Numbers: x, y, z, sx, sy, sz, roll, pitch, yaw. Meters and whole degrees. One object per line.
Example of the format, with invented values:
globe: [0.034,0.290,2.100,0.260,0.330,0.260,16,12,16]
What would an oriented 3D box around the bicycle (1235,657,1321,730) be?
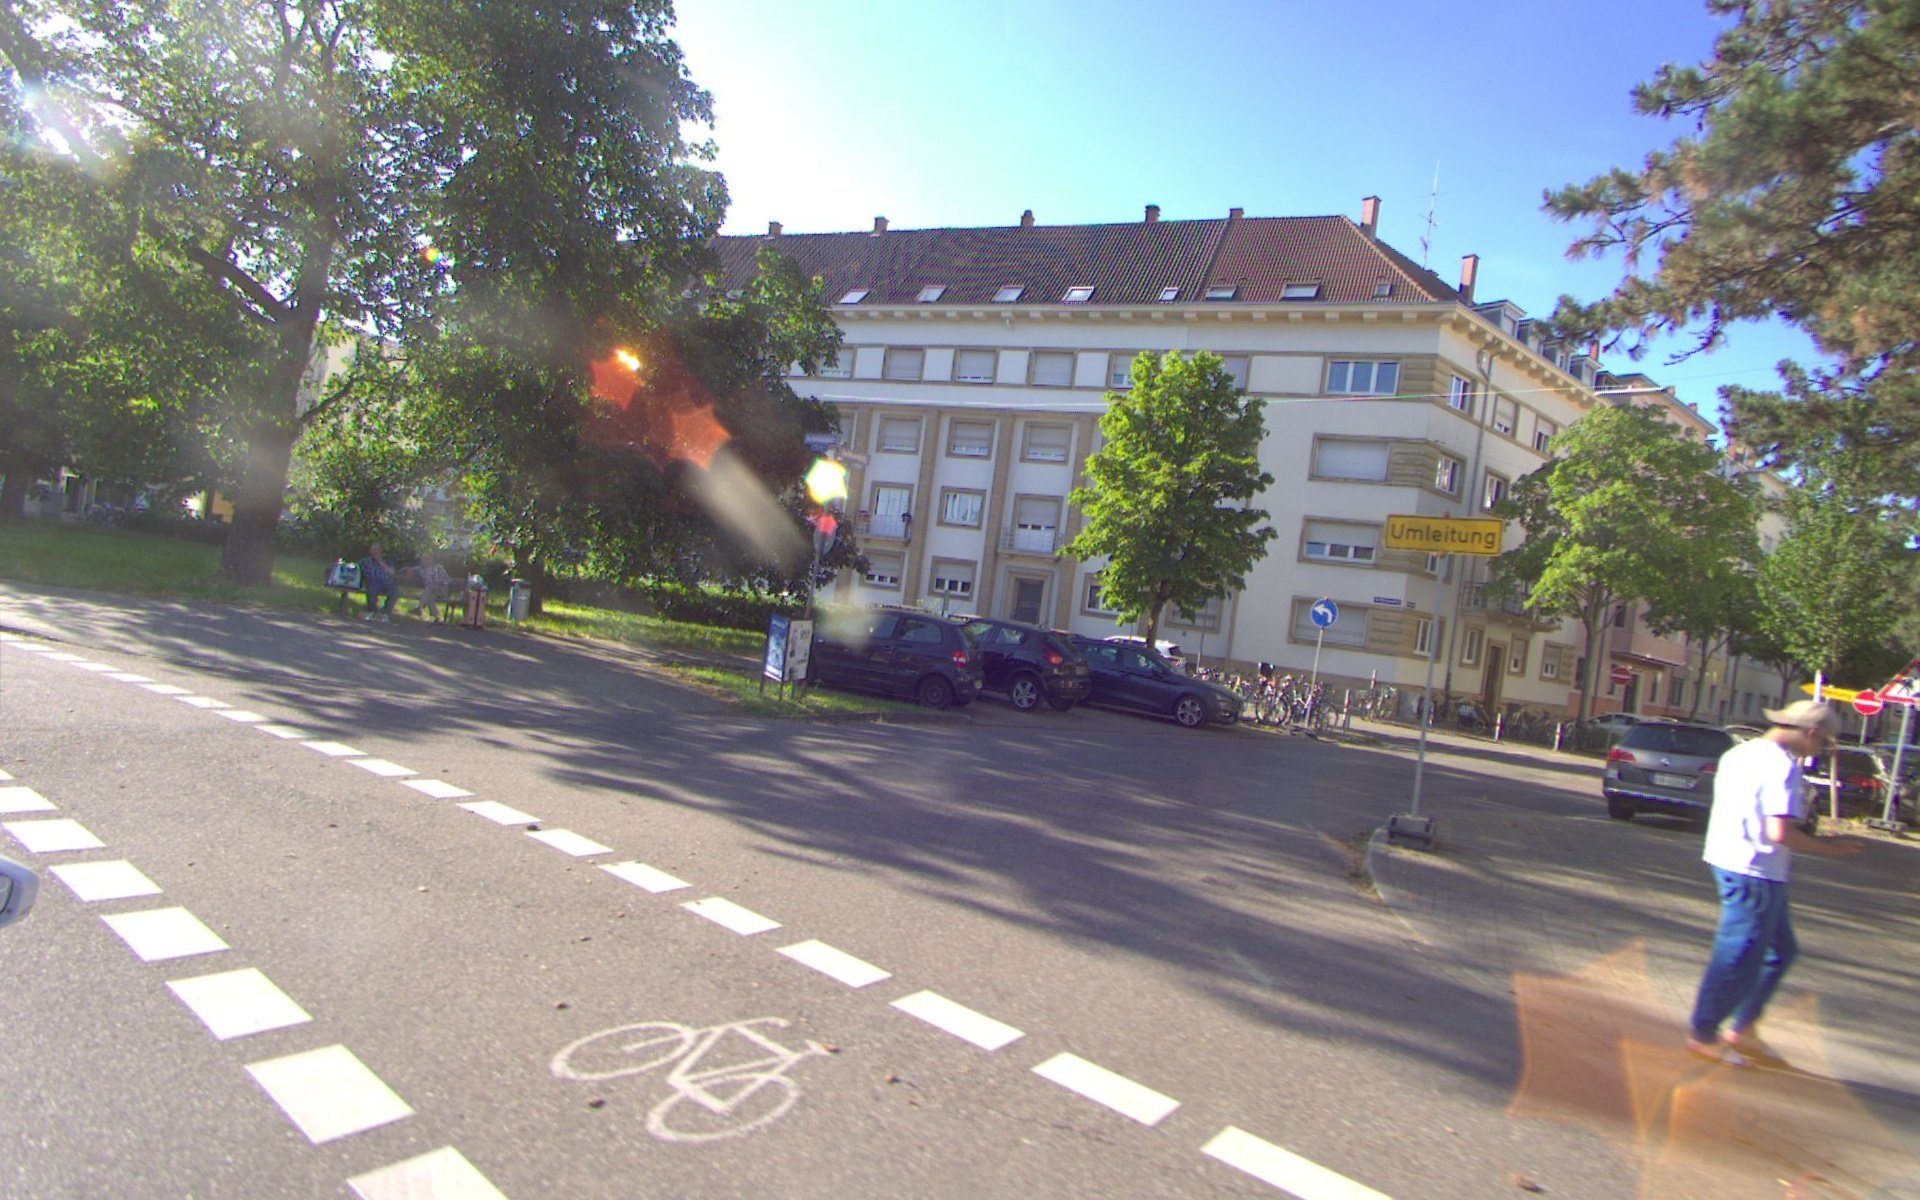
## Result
bicycle: [7.445,2.166,23.690,0.552,1.474,2.330,9,-3,-17]

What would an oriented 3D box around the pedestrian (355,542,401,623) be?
pedestrian: [-9.417,-0.292,16.261,0.401,1.240,0.753,10,-2,-36]

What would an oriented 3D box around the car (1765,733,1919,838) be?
car: [16.976,3.436,19.139,3.882,1.488,1.750,7,1,-40]

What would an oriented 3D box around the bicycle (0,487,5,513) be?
bicycle: [-54.992,-5.806,56.001,0.597,1.414,2.480,7,-3,25]

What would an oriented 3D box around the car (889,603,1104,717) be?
car: [0.667,1.103,19.296,3.744,1.592,1.453,7,1,30]

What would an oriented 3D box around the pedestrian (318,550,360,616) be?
pedestrian: [-9.905,-0.278,16.030,0.401,0.945,0.616,10,0,-36]

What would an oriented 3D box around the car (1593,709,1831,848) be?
car: [10.815,2.458,14.351,4.272,1.519,1.751,7,-3,-40]

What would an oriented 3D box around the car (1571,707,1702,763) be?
car: [27.597,5.476,41.112,1.804,1.569,3.961,10,-3,-36]

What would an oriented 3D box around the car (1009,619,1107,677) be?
car: [2.858,1.325,28.790,1.548,1.389,3.350,7,3,28]

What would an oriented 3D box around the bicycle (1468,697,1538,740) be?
bicycle: [19.652,4.273,36.422,2.034,1.201,0.595,6,-3,43]

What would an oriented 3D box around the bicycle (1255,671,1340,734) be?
bicycle: [7.986,2.407,23.940,0.552,1.240,2.331,9,-3,-16]

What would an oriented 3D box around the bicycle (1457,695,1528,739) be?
bicycle: [18.711,4.098,35.373,2.034,1.201,0.595,6,-3,43]

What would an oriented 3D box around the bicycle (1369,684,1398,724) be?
bicycle: [13.798,3.394,32.823,0.586,1.201,2.065,8,-3,19]

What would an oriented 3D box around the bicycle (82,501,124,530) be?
bicycle: [-38.168,-3.766,44.805,1.971,1.046,0.599,7,-2,26]

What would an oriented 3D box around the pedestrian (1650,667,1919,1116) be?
pedestrian: [3.772,1.233,4.653,0.713,1.743,0.881,8,1,32]

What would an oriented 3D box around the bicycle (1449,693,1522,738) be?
bicycle: [18.146,3.974,34.764,2.034,1.201,0.595,6,-3,43]

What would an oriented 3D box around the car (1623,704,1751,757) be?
car: [31.331,5.609,43.419,1.985,1.569,3.961,10,-3,-36]

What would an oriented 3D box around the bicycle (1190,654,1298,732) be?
bicycle: [6.503,2.104,23.184,0.748,1.474,2.318,10,-3,-32]

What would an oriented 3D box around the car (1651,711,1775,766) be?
car: [33.706,6.187,45.114,1.985,1.724,3.961,10,-3,-36]

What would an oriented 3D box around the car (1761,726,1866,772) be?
car: [46.815,8.169,55.251,1.985,1.724,3.961,10,-3,-36]

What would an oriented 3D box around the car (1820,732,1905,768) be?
car: [62.235,10.340,69.446,1.985,1.724,3.961,10,-3,-36]

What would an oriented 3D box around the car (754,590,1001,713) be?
car: [-1.383,0.844,17.221,3.736,1.513,1.641,7,1,15]

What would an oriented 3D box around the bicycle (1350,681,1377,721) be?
bicycle: [13.232,3.318,33.039,0.586,1.201,2.065,8,-3,19]

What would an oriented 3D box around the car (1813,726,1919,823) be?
car: [21.110,3.968,22.942,3.885,1.731,1.750,9,-1,-40]

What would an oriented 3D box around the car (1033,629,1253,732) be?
car: [3.814,1.623,20.975,4.163,1.458,1.640,7,1,21]

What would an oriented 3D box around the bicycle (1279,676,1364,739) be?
bicycle: [8.601,2.532,24.049,0.546,1.231,2.332,9,-3,-15]

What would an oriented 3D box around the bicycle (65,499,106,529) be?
bicycle: [-38.448,-3.784,44.222,1.764,1.046,0.599,7,-2,26]

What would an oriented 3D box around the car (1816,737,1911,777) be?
car: [55.724,9.679,62.106,1.985,1.724,3.961,10,-3,-36]

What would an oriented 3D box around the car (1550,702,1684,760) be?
car: [25.937,5.166,39.844,1.804,1.569,3.961,10,-3,-36]

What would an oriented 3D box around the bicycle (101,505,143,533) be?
bicycle: [-37.772,-3.652,45.340,1.955,1.046,0.599,7,-2,26]

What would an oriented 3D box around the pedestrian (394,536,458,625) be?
pedestrian: [-9.039,-0.332,17.029,0.682,1.388,0.748,10,-2,-37]

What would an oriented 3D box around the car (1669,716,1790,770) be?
car: [35.720,6.616,46.746,1.985,1.724,3.961,10,-3,-36]

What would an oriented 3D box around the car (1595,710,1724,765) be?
car: [29.298,5.759,42.235,1.804,1.569,3.961,10,-3,-36]

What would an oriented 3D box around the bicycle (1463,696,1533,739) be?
bicycle: [19.199,4.180,35.935,2.034,1.201,0.595,6,-3,43]
